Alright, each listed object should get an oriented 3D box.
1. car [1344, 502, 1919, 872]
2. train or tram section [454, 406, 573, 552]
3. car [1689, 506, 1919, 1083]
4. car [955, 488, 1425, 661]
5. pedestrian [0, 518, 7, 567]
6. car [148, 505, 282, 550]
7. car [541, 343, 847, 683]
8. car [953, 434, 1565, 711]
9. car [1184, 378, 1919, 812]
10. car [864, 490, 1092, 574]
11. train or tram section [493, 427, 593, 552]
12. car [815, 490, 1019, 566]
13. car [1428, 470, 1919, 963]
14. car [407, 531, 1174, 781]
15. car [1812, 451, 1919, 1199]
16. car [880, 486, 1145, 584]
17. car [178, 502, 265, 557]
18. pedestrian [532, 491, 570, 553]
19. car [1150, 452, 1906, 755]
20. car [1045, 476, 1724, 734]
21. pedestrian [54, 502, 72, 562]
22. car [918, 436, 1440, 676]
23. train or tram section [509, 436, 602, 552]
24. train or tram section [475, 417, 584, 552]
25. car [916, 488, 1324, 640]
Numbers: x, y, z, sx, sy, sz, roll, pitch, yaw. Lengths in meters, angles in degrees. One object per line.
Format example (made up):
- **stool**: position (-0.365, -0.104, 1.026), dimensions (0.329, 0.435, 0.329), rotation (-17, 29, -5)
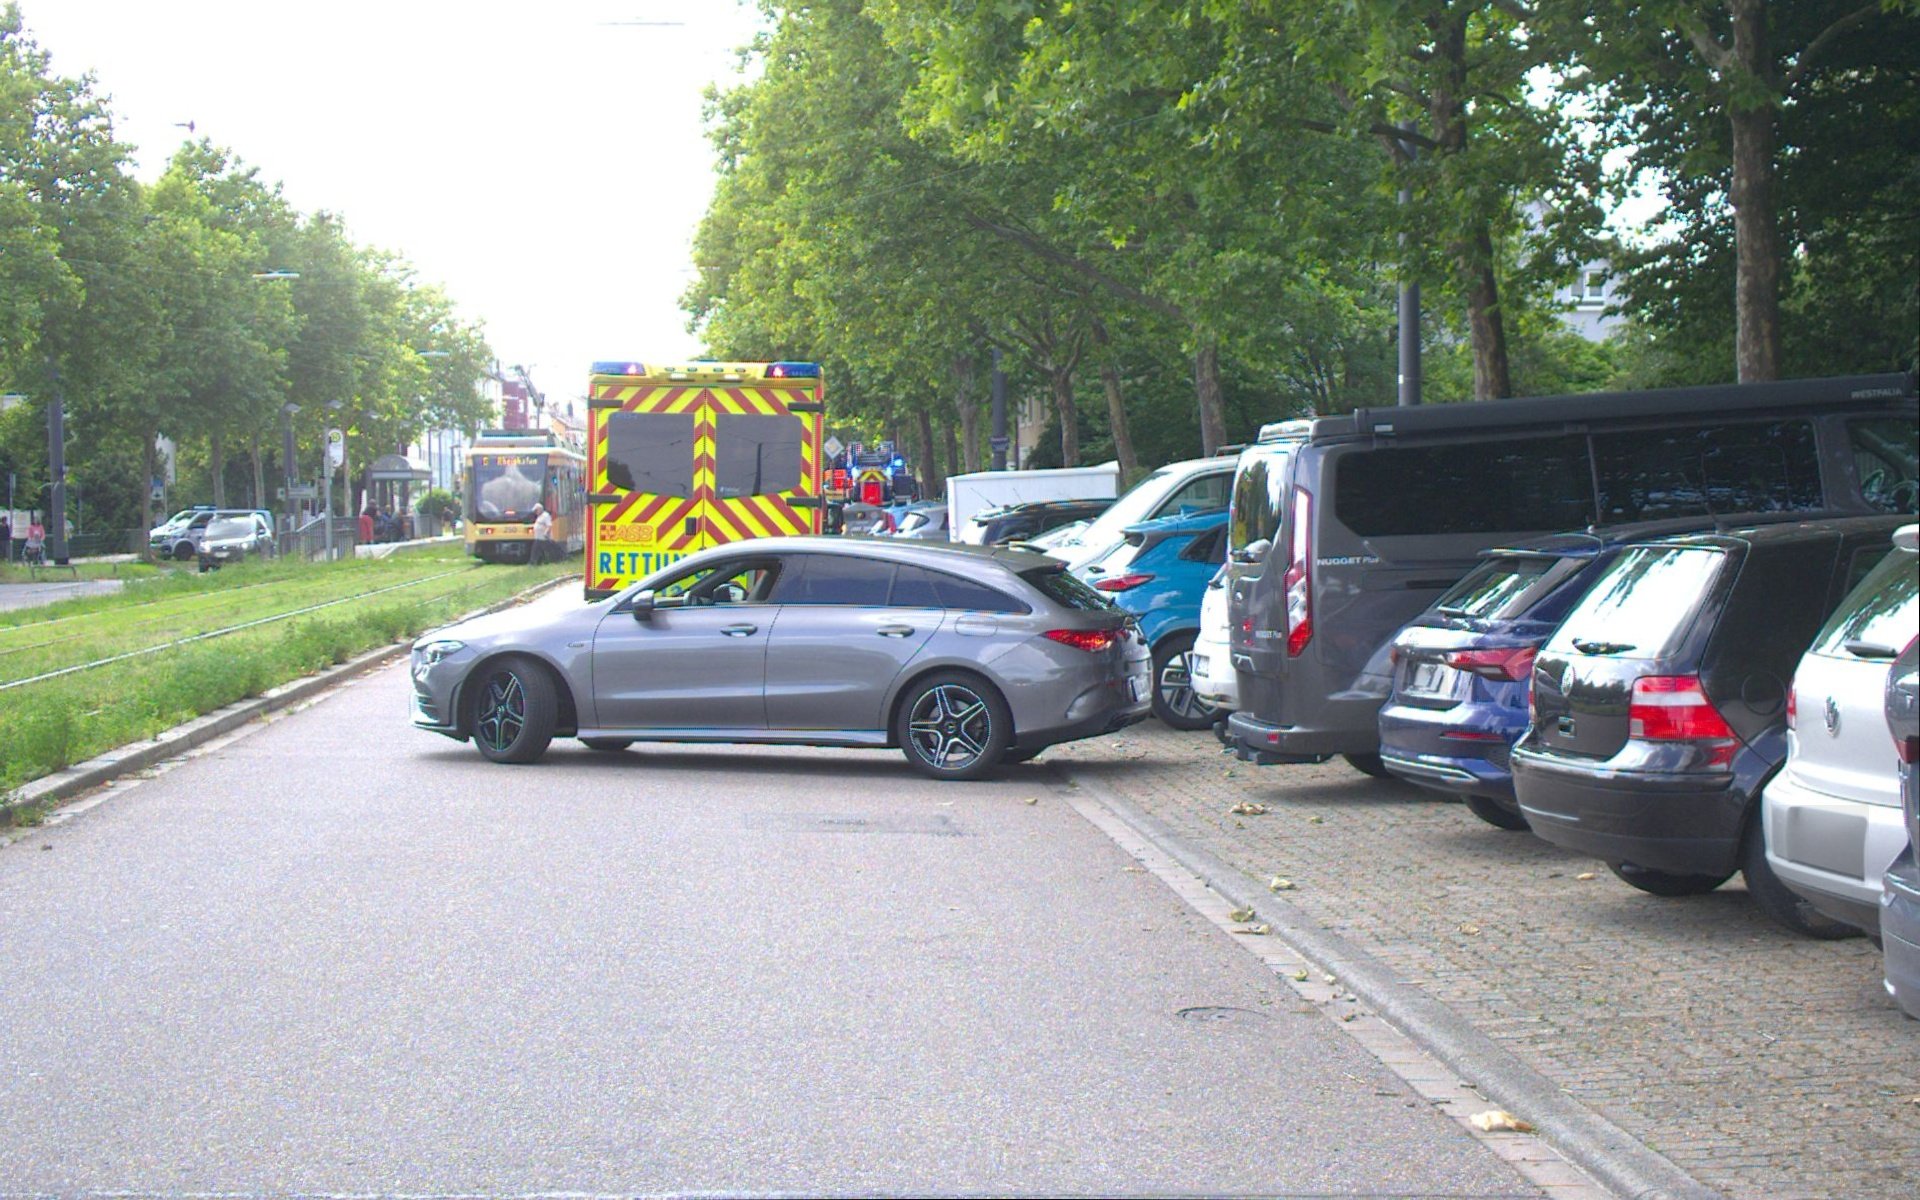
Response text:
- **car**: position (3.871, 0.318, 15.466), dimensions (3.965, 1.489, 1.756), rotation (-2, 1, -4)
- **train or tram section**: position (-11.608, -3.101, 89.968), dimensions (2.511, 3.572, 7.446), rotation (-2, 1, -4)
- **car**: position (4.331, 0.431, 9.975), dimensions (3.965, 1.489, 1.756), rotation (-2, 2, -4)
- **car**: position (2.342, -0.287, 35.645), dimensions (4.545, 1.603, 1.856), rotation (-2, 2, -7)
- **pedestrian**: position (-28.938, -1.730, 103.405), dimensions (0.421, 1.468, 0.467), rotation (-1, 2, -8)
- **car**: position (-28.105, -2.744, 129.756), dimensions (4.615, 1.627, 1.882), rotation (-3, 2, -42)
- **car**: position (-2.494, -0.848, 33.919), dimensions (2.641, 2.956, 6.300), rotation (2, 1, -2)
- **car**: position (2.342, -0.247, 27.563), dimensions (4.545, 1.994, 1.856), rotation (-2, 2, -7)
- **car**: position (3.623, -0.073, 18.617), dimensions (4.545, 2.116, 1.856), rotation (-2, 2, -4)
- **car**: position (0.354, -1.440, 72.149), dimensions (4.545, 1.603, 1.856), rotation (-2, 2, -7)
- **train or tram section**: position (-12.645, -3.303, 104.812), dimensions (2.511, 3.572, 7.446), rotation (-2, 1, -4)
- **car**: position (-1.022, -1.695, 80.319), dimensions (4.545, 1.603, 1.856), rotation (-2, 2, -7)
- **car**: position (3.931, 0.311, 12.675), dimensions (3.964, 1.600, 1.757), rotation (-2, 2, -14)
- **car**: position (-1.008, 0.302, 21.417), dimensions (4.455, 1.381, 1.766), rotation (1, 1, 12)
- **car**: position (4.198, 0.440, 7.107), dimensions (4.380, 1.634, 1.756), rotation (-2, 2, -2)
- **car**: position (0.923, -1.181, 62.316), dimensions (4.545, 1.603, 1.856), rotation (-2, 2, -7)
- **car**: position (-22.574, -2.180, 105.220), dimensions (1.993, 1.552, 4.371), rotation (-2, 2, -4)
- **pedestrian**: position (-10.197, -1.939, 85.704), dimensions (0.880, 1.520, 0.751), rotation (1, 1, -4)
- **car**: position (3.643, -0.010, 22.561), dimensions (4.545, 1.760, 1.856), rotation (-2, 2, -4)
- **car**: position (3.034, 0.003, 25.066), dimensions (4.544, 1.654, 1.856), rotation (-2, 2, -8)
- **pedestrian**: position (-25.955, -1.972, 99.451), dimensions (0.421, 1.724, 0.467), rotation (-1, 2, -8)
- **car**: position (1.999, -0.432, 32.144), dimensions (4.545, 2.036, 1.856), rotation (-2, 2, -7)
- **train or tram section**: position (-13.152, -3.404, 112.239), dimensions (2.511, 3.572, 7.446), rotation (-2, 1, -4)
- **train or tram section**: position (-12.130, -3.202, 97.383), dimensions (2.511, 3.572, 7.446), rotation (-2, 1, -4)
- **car**: position (1.864, -0.446, 40.782), dimensions (4.545, 1.603, 1.856), rotation (-2, 2, -7)
